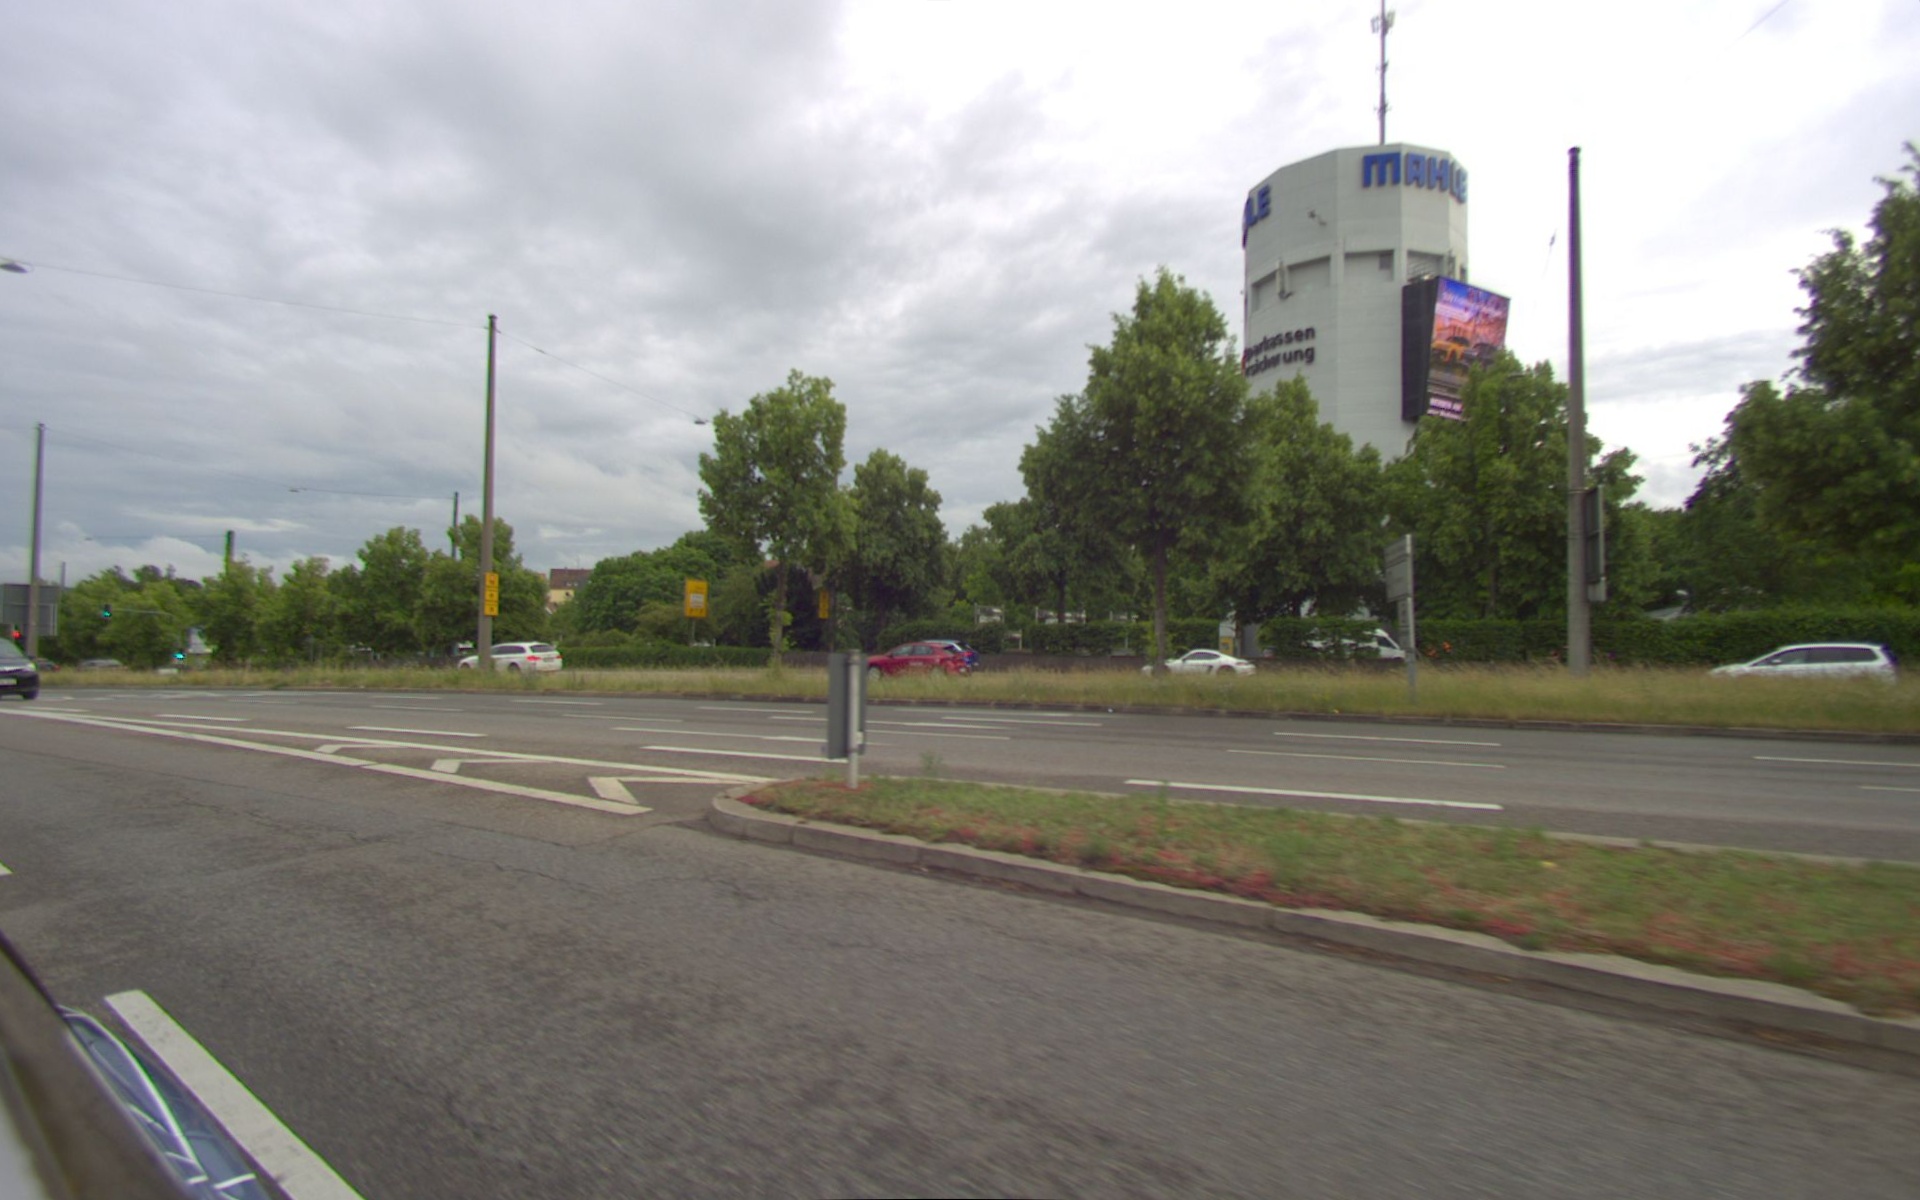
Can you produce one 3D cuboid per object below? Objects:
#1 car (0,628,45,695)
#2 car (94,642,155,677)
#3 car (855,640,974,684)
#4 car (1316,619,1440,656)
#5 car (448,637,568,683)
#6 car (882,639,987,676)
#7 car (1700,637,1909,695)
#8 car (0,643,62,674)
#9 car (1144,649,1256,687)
[{"bbox_3d":[-24.631,1.507,24.978,4.024,1.577,1.785,-1,-1,28],"label":"car"},{"bbox_3d":[-47.704,3.362,57.743,3.996,1.896,1.974,-1,-1,40],"label":"car"},{"bbox_3d":[-1.677,2.274,37.345,3.973,1.543,1.900,-1,-2,22],"label":"car"},{"bbox_3d":[25.846,2.285,62.851,6.950,2.147,2.374,-1,-1,22],"label":"car"},{"bbox_3d":[-18.960,2.507,42.408,4.845,1.784,1.982,-2,-2,26],"label":"car"},{"bbox_3d":[-1.047,2.361,41.783,3.960,1.453,1.866,-1,-2,26],"label":"car"},{"bbox_3d":[26.696,2.062,32.247,4.721,1.684,1.982,-1,-1,27],"label":"car"},{"bbox_3d":[-49.939,3.154,54.114,3.988,1.519,1.874,-4,-5,33],"label":"car"},{"bbox_3d":[9.194,2.578,38.791,3.958,1.402,1.652,-1,-2,25],"label":"car"}]
